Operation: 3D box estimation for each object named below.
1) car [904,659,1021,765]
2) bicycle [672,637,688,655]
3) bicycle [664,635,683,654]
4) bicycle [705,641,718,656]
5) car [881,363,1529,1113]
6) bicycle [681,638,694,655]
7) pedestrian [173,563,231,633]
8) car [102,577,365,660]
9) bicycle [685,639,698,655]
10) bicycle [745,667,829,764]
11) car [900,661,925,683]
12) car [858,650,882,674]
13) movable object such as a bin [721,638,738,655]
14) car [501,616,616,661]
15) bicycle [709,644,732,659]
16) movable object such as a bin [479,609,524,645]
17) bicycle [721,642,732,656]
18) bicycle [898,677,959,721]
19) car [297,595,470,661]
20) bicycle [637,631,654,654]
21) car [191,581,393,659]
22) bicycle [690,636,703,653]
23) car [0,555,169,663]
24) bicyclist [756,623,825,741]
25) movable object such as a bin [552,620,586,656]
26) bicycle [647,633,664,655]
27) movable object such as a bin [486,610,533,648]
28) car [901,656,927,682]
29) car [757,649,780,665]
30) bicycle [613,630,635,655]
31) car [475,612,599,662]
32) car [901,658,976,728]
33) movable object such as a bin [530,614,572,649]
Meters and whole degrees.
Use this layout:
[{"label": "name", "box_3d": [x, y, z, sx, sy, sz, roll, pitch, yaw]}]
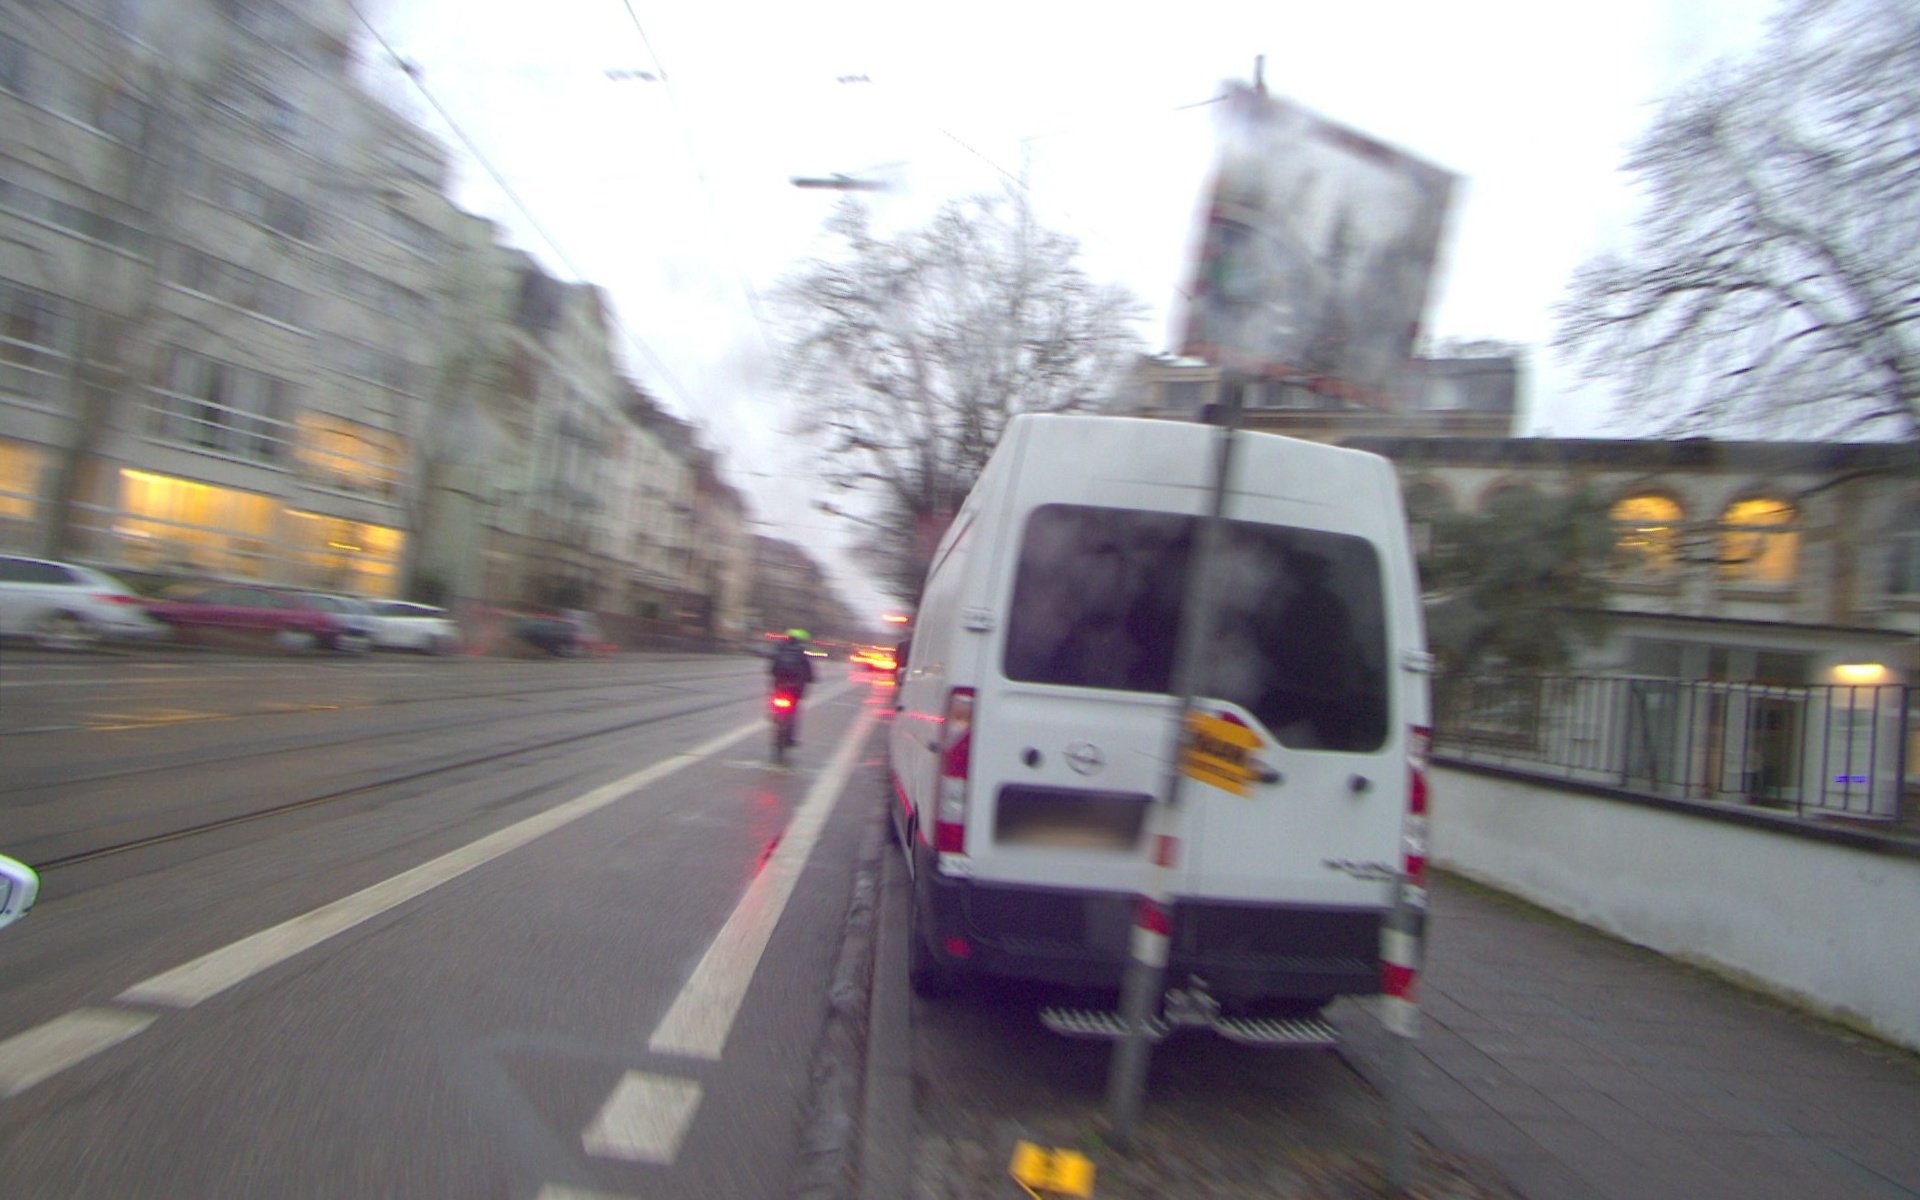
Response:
[{"label": "car", "box_3d": [-0.057, 1.952, 18.368, 1.619, 1.540, 3.574, 7, -4, -5]}, {"label": "bicycle", "box_3d": [-18.267, 3.018, 65.705, 0.682, 1.040, 1.599, 6, -7, -8]}, {"label": "bicycle", "box_3d": [-18.124, 2.836, 63.654, 0.681, 1.040, 1.599, 5, -7, -2]}, {"label": "bicycle", "box_3d": [-18.984, 3.709, 76.904, 0.616, 1.029, 1.806, 5, -3, -4]}, {"label": "car", "box_3d": [0.699, 0.635, 6.270, 2.092, 2.516, 5.439, 4, -3, -6]}, {"label": "bicycle", "box_3d": [-18.396, 3.168, 67.977, 0.683, 1.042, 1.596, 6, -5, -12]}, {"label": "pedestrian", "box_3d": [-19.414, -0.033, 25.788, 0.588, 1.696, 0.973, 6, -2, -3]}, {"label": "car", "box_3d": [-15.884, 0.450, 22.194, 1.725, 1.367, 4.333, 3, -5, 38]}, {"label": "bicycle", "box_3d": [-18.660, 3.270, 69.978, 0.683, 1.042, 1.595, 6, -4, -12]}, {"label": "bicycle", "box_3d": [-2.292, 1.514, 13.597, 0.696, 1.109, 2.031, 6, -3, 0]}, {"label": "car", "box_3d": [-3.567, 5.377, 75.495, 1.652, 1.476, 4.045, 6, -3, -4]}, {"label": "car", "box_3d": [-8.431, 5.868, 94.536, 1.964, 1.916, 4.765, 8, -5, -4]}, {"label": "movable object such as a bin", "box_3d": [-23.679, 4.776, 103.428, 1.388, 1.548, 1.365, 6, -2, -3]}, {"label": "car", "box_3d": [-16.780, 1.625, 42.145, 1.825, 1.444, 3.980, 4, -4, 44]}, {"label": "bicycle", "box_3d": [-20.977, 4.523, 88.105, 1.780, 1.093, 0.616, 6, -2, -10]}, {"label": "movable object such as a bin", "box_3d": [-21.079, 1.244, 46.272, 1.243, 1.467, 1.327, 6, -2, 4]}, {"label": "bicycle", "box_3d": [-19.129, 4.017, 82.452, 0.605, 1.093, 1.810, 6, -3, -7]}, {"label": "bicycle", "box_3d": [-0.927, 2.926, 29.786, 1.687, 1.083, 0.663, 6, -2, -3]}, {"label": "car", "box_3d": [-16.332, 0.830, 28.628, 1.713, 1.439, 3.837, 4, -4, 41]}, {"label": "bicycle", "box_3d": [-17.493, 2.341, 55.955, 0.621, 1.226, 1.594, 6, -2, -12]}, {"label": "car", "box_3d": [-16.532, 0.532, 24.989, 3.969, 1.479, 1.720, 8, -5, -38]}, {"label": "bicycle", "box_3d": [-18.792, 3.181, 71.860, 0.479, 1.112, 1.932, 5, -3, -4]}, {"label": "car", "box_3d": [-15.004, 0.054, 15.716, 3.966, 1.459, 1.721, 8, -5, -36]}, {"label": "bicyclist", "box_3d": [-2.253, 1.084, 13.438, 0.646, 1.463, 0.850, 6, -2, -1]}, {"label": "movable object such as a bin", "box_3d": [-17.628, 1.717, 45.344, 1.251, 1.467, 1.106, 7, -2, -25]}, {"label": "bicycle", "box_3d": [-17.849, 2.588, 58.995, 0.683, 1.226, 1.594, 6, -2, -12]}, {"label": "movable object such as a bin", "box_3d": [-19.378, 1.267, 43.319, 1.243, 1.467, 1.327, 6, -2, 4]}, {"label": "car", "box_3d": [-4.038, 5.935, 87.243, 1.964, 1.922, 5.029, 6, -3, -4]}, {"label": "car", "box_3d": [-20.739, 6.158, 109.204, 1.806, 1.463, 4.002, 6, -3, -3]}, {"label": "bicycle", "box_3d": [-17.388, 2.186, 52.109, 0.682, 1.226, 1.596, 6, -2, -8]}, {"label": "car", "box_3d": [-16.503, 1.481, 39.342, 1.807, 1.487, 3.984, 4, -4, 41]}, {"label": "car", "box_3d": [-0.640, 2.433, 26.920, 1.666, 1.537, 3.639, 6, -3, -4]}, {"label": "movable object such as a bin", "box_3d": [-19.375, 1.500, 47.650, 1.243, 1.467, 1.327, 6, -2, 4]}]
